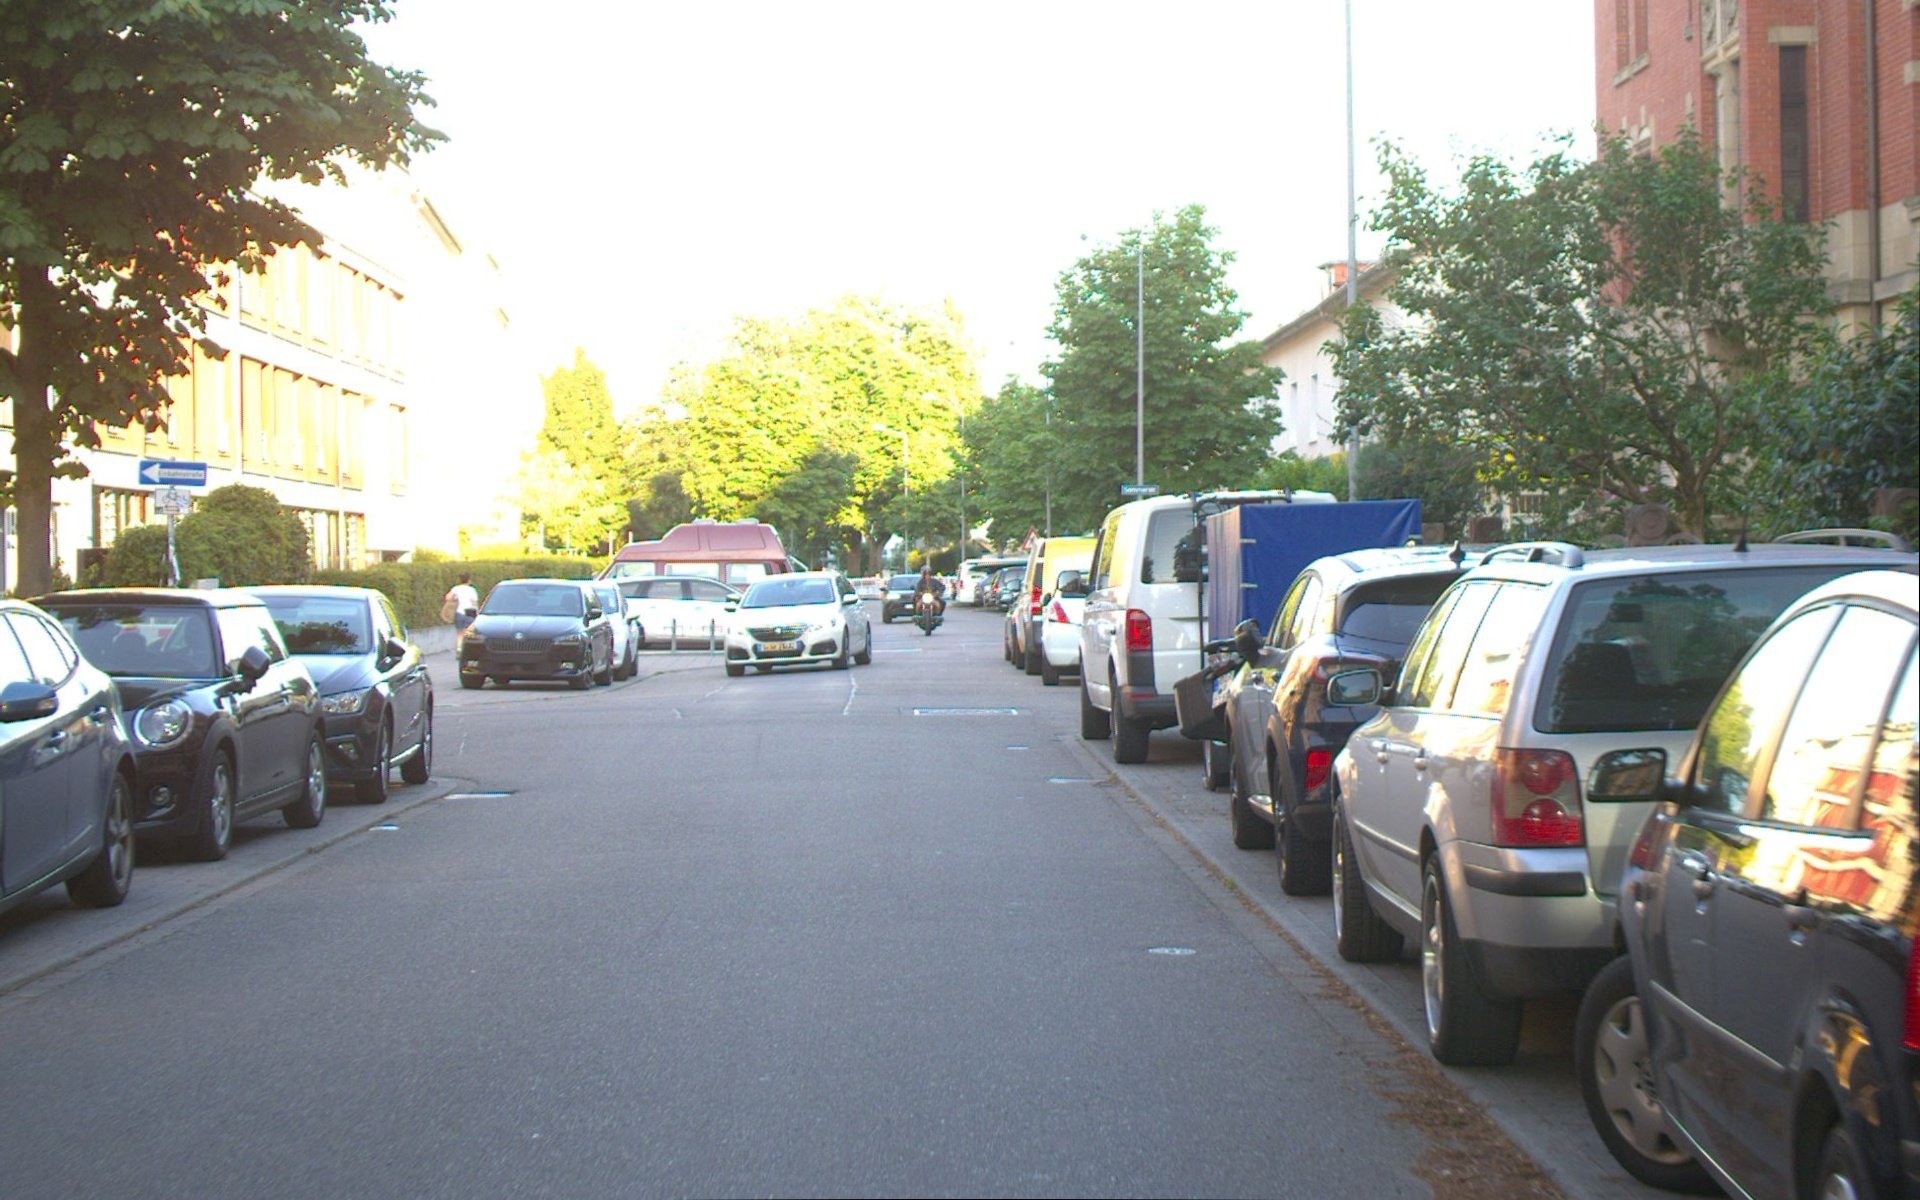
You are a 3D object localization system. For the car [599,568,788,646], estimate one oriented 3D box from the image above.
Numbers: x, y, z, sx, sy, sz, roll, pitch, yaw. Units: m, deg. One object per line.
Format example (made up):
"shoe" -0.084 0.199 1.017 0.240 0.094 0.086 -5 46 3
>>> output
"car" -5.162 0.126 66.657 3.618 1.456 1.607 0 1 -4

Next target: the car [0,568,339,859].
"car" -4.634 0.560 19.210 1.715 1.436 3.631 0 1 -1

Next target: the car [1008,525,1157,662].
"car" 1.650 -0.097 47.602 1.686 1.805 3.940 0 0 -3

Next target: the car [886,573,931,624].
"car" -1.656 -0.064 111.077 1.432 1.590 3.483 0 1 -1

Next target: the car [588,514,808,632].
"car" -5.254 -0.554 69.313 4.349 2.310 1.746 0 1 -2

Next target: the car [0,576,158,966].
"car" -4.538 0.660 13.888 1.715 1.460 3.987 0 1 -1

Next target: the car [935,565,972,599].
"car" -0.337 -0.870 166.056 1.715 1.590 3.483 0 1 -1

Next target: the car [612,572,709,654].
"car" -5.522 0.214 63.611 1.715 1.436 3.631 0 1 -4

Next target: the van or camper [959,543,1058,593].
"van or camper" 2.696 -1.794 191.732 5.262 2.782 1.552 -1 1 -11

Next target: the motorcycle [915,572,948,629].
"motorcycle" -0.691 -0.006 82.869 0.742 1.246 3.378 -1 2 -1

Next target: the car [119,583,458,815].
"car" -4.589 0.626 23.974 1.599 1.436 3.837 0 1 0

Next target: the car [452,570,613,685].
"car" -5.721 0.367 46.387 1.716 1.481 3.630 0 0 0

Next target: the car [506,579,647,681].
"car" -5.736 0.422 51.774 1.716 1.436 3.631 0 1 0

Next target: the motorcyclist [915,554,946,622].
"motorcyclist" -0.706 -0.287 82.720 0.702 1.625 0.822 -1 0 -1

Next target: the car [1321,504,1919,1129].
"car" 2.165 0.543 10.811 1.687 1.600 3.940 0 0 1

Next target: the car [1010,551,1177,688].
"car" 1.612 0.219 42.723 1.686 1.600 3.940 0 0 -3

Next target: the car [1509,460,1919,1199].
"car" 2.221 0.584 6.737 1.687 1.600 3.940 0 0 1

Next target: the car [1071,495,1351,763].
"car" 1.893 0.199 26.943 1.680 1.934 3.881 0 0 -3

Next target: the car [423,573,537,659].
"car" -8.393 0.260 60.352 1.715 1.436 3.631 -1 1 -4

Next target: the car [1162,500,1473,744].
"car" 2.336 0.127 23.188 1.538 1.516 3.432 0 0 -3

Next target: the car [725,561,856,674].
"car" -2.486 0.230 51.163 1.813 1.590 3.483 0 1 -1
